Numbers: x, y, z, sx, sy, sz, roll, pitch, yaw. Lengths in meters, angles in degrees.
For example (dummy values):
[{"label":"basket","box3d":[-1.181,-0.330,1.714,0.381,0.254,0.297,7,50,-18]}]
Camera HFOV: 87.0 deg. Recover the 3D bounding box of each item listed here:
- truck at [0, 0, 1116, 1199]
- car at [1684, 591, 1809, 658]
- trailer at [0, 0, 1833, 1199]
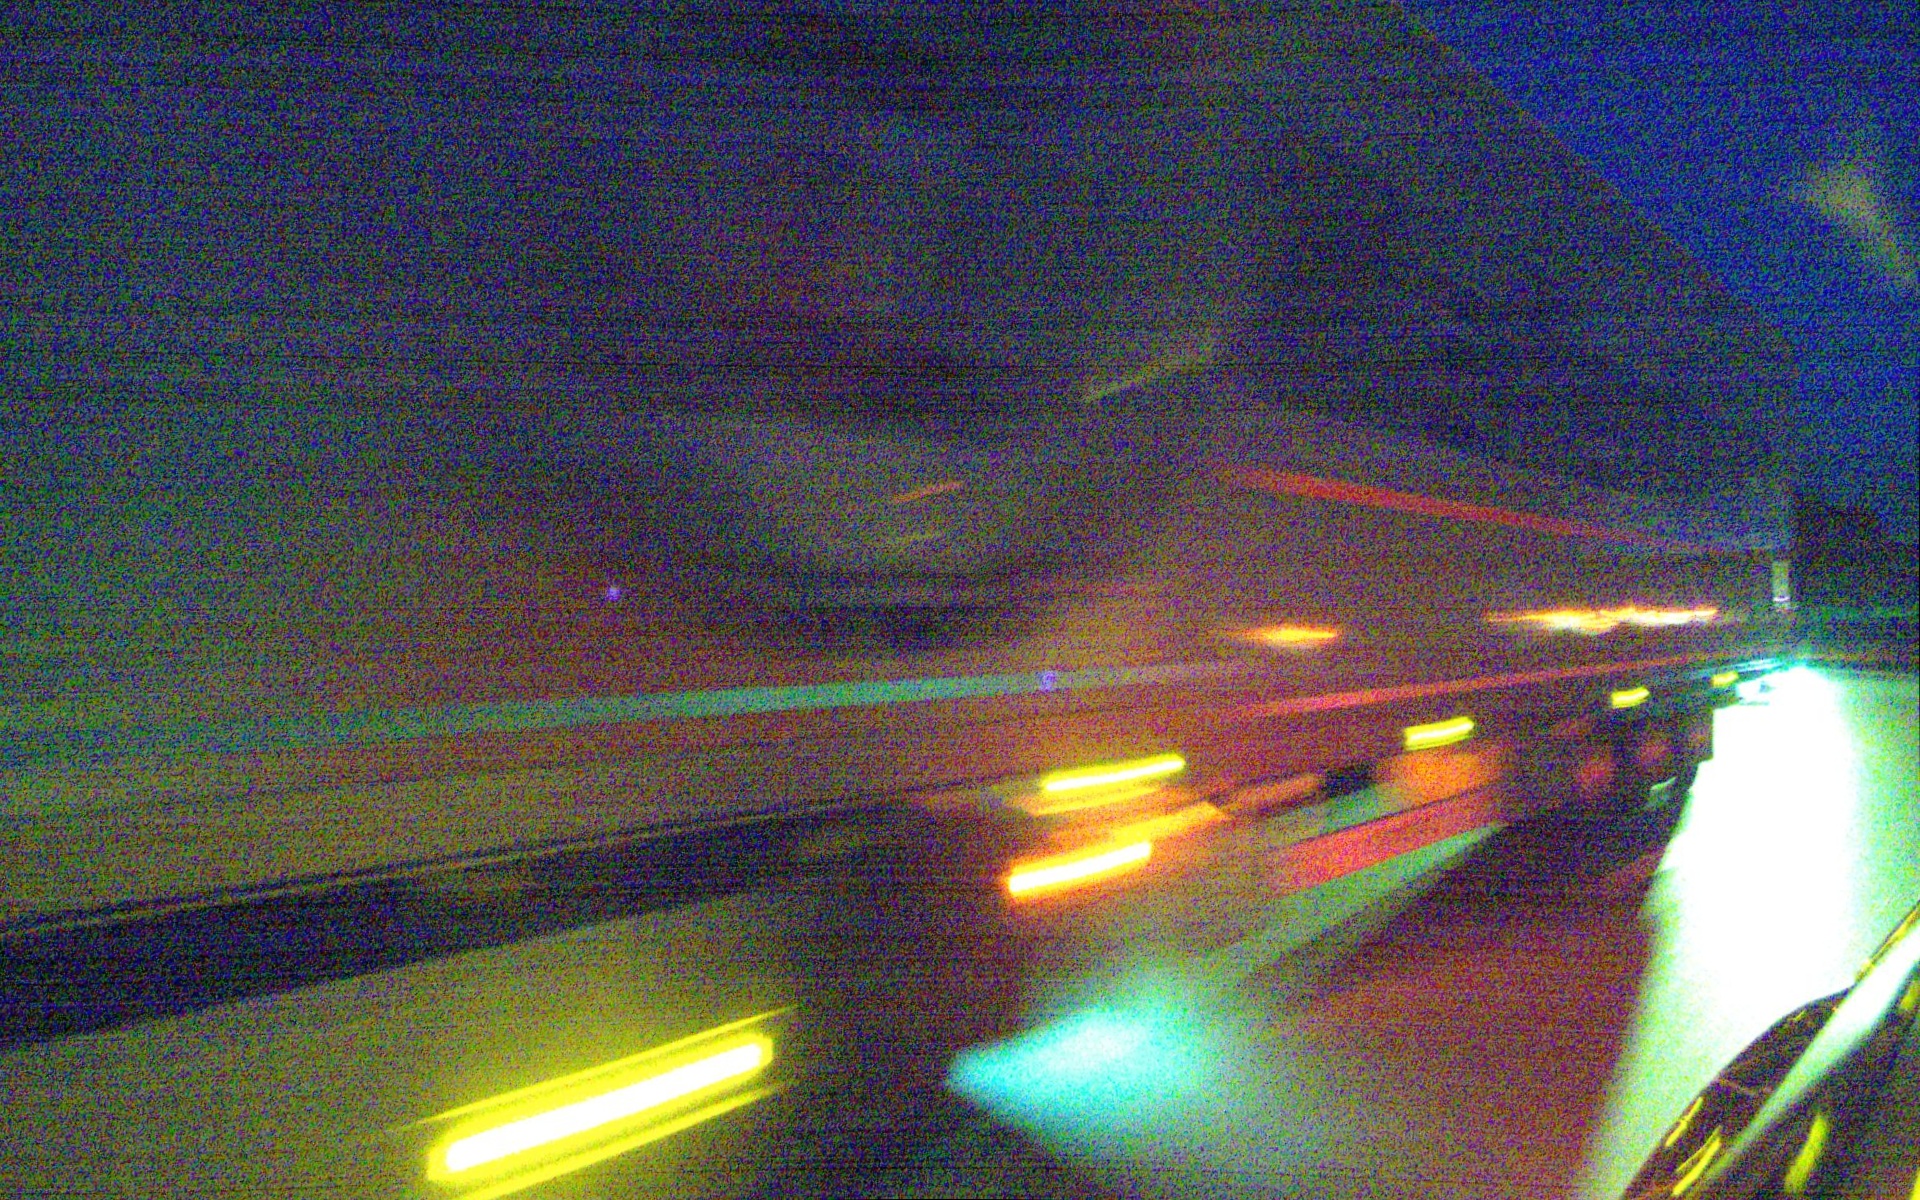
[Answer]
[{"label":"truck","box3d":[-2.930,-0.683,1.709,6.605,4.260,2.666,0,-1,-41]},{"label":"car","box3d":[19.077,0.540,24.475,4.177,1.485,1.822,0,0,-44]},{"label":"trailer","box3d":[2.651,-0.724,6.618,13.274,4.260,2.746,0,-1,-41]}]
